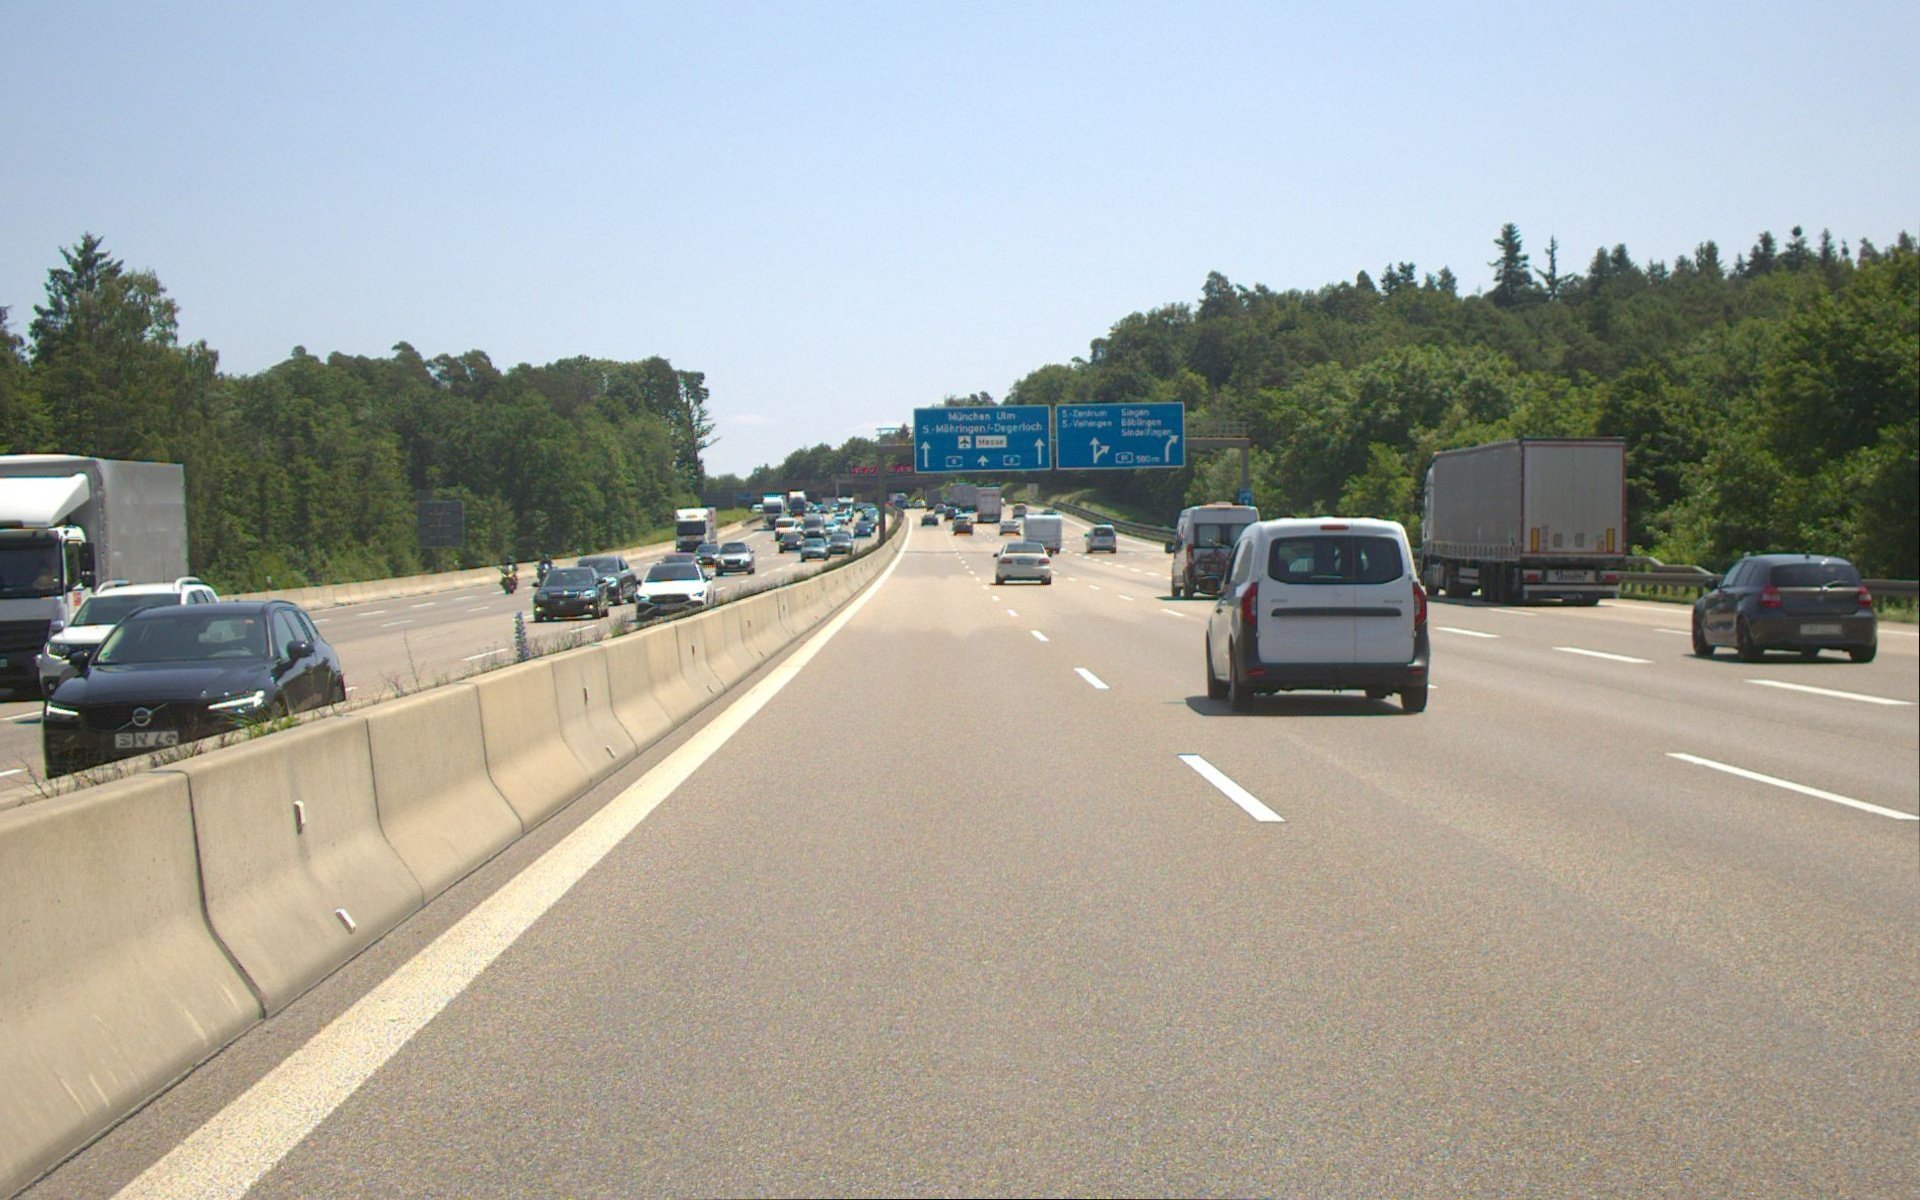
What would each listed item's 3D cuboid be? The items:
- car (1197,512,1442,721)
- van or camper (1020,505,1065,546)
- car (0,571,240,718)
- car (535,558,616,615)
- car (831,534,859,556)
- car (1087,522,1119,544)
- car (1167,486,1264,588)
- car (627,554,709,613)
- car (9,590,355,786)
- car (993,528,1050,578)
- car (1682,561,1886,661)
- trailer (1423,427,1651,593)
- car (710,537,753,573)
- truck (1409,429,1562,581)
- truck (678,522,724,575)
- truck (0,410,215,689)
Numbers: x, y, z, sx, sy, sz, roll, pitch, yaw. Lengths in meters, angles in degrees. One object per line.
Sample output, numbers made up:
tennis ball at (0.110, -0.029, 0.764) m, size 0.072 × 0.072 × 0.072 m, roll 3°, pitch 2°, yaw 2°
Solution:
car at (3.384, 0.110, 33.168) m, size 1.860 × 1.819 × 4.612 m, roll -2°, pitch 1°, yaw 0°
van or camper at (5.300, -4.808, 221.211) m, size 2.645 × 2.530 × 6.502 m, roll -2°, pitch 1°, yaw 0°
car at (-10.688, 0.520, 44.082) m, size 1.913 × 1.655 × 4.689 m, roll -2°, pitch 1°, yaw -1°
car at (-10.438, -0.381, 93.639) m, size 1.702 × 1.422 × 4.614 m, roll -2°, pitch 1°, yaw -1°
car at (-7.833, -3.769, 234.188) m, size 1.752 × 1.372 × 4.491 m, roll -3°, pitch 1°, yaw 0°
car at (9.189, -4.320, 220.967) m, size 1.835 × 1.333 × 3.643 m, roll -2°, pitch 1°, yaw -1°
car at (6.888, -1.743, 93.161) m, size 2.143 × 2.643 × 5.710 m, roll -1°, pitch 2°, yaw 0°
car at (-7.477, -0.450, 88.355) m, size 1.824 × 1.389 × 4.465 m, roll -2°, pitch 1°, yaw -2°
car at (-6.393, 0.675, 28.726) m, size 1.913 × 1.459 × 4.364 m, roll -1°, pitch 0°, yaw -1°
car at (2.095, -1.606, 118.357) m, size 1.843 × 1.623 × 4.553 m, roll -2°, pitch 1°, yaw 0°
car at (10.960, 0.136, 45.989) m, size 1.670 × 1.269 × 4.290 m, roll 0°, pitch 0°, yaw 0°
trailer at (14.681, -2.356, 88.811) m, size 3.287 × 3.917 × 13.892 m, roll 0°, pitch 2°, yaw -1°
car at (-11.733, -2.313, 176.993) m, size 1.970 × 1.718 × 4.509 m, roll 3°, pitch 1°, yaw -2°
truck at (14.565, -2.655, 95.696) m, size 3.254 × 4.092 × 5.988 m, roll 0°, pitch 2°, yaw -1°
truck at (-19.566, -3.899, 260.244) m, size 2.719 × 3.925 × 10.237 m, roll -1°, pitch 1°, yaw 0°
truck at (-14.264, -0.778, 54.351) m, size 2.858 × 3.999 × 9.468 m, roll -2°, pitch 1°, yaw 0°
